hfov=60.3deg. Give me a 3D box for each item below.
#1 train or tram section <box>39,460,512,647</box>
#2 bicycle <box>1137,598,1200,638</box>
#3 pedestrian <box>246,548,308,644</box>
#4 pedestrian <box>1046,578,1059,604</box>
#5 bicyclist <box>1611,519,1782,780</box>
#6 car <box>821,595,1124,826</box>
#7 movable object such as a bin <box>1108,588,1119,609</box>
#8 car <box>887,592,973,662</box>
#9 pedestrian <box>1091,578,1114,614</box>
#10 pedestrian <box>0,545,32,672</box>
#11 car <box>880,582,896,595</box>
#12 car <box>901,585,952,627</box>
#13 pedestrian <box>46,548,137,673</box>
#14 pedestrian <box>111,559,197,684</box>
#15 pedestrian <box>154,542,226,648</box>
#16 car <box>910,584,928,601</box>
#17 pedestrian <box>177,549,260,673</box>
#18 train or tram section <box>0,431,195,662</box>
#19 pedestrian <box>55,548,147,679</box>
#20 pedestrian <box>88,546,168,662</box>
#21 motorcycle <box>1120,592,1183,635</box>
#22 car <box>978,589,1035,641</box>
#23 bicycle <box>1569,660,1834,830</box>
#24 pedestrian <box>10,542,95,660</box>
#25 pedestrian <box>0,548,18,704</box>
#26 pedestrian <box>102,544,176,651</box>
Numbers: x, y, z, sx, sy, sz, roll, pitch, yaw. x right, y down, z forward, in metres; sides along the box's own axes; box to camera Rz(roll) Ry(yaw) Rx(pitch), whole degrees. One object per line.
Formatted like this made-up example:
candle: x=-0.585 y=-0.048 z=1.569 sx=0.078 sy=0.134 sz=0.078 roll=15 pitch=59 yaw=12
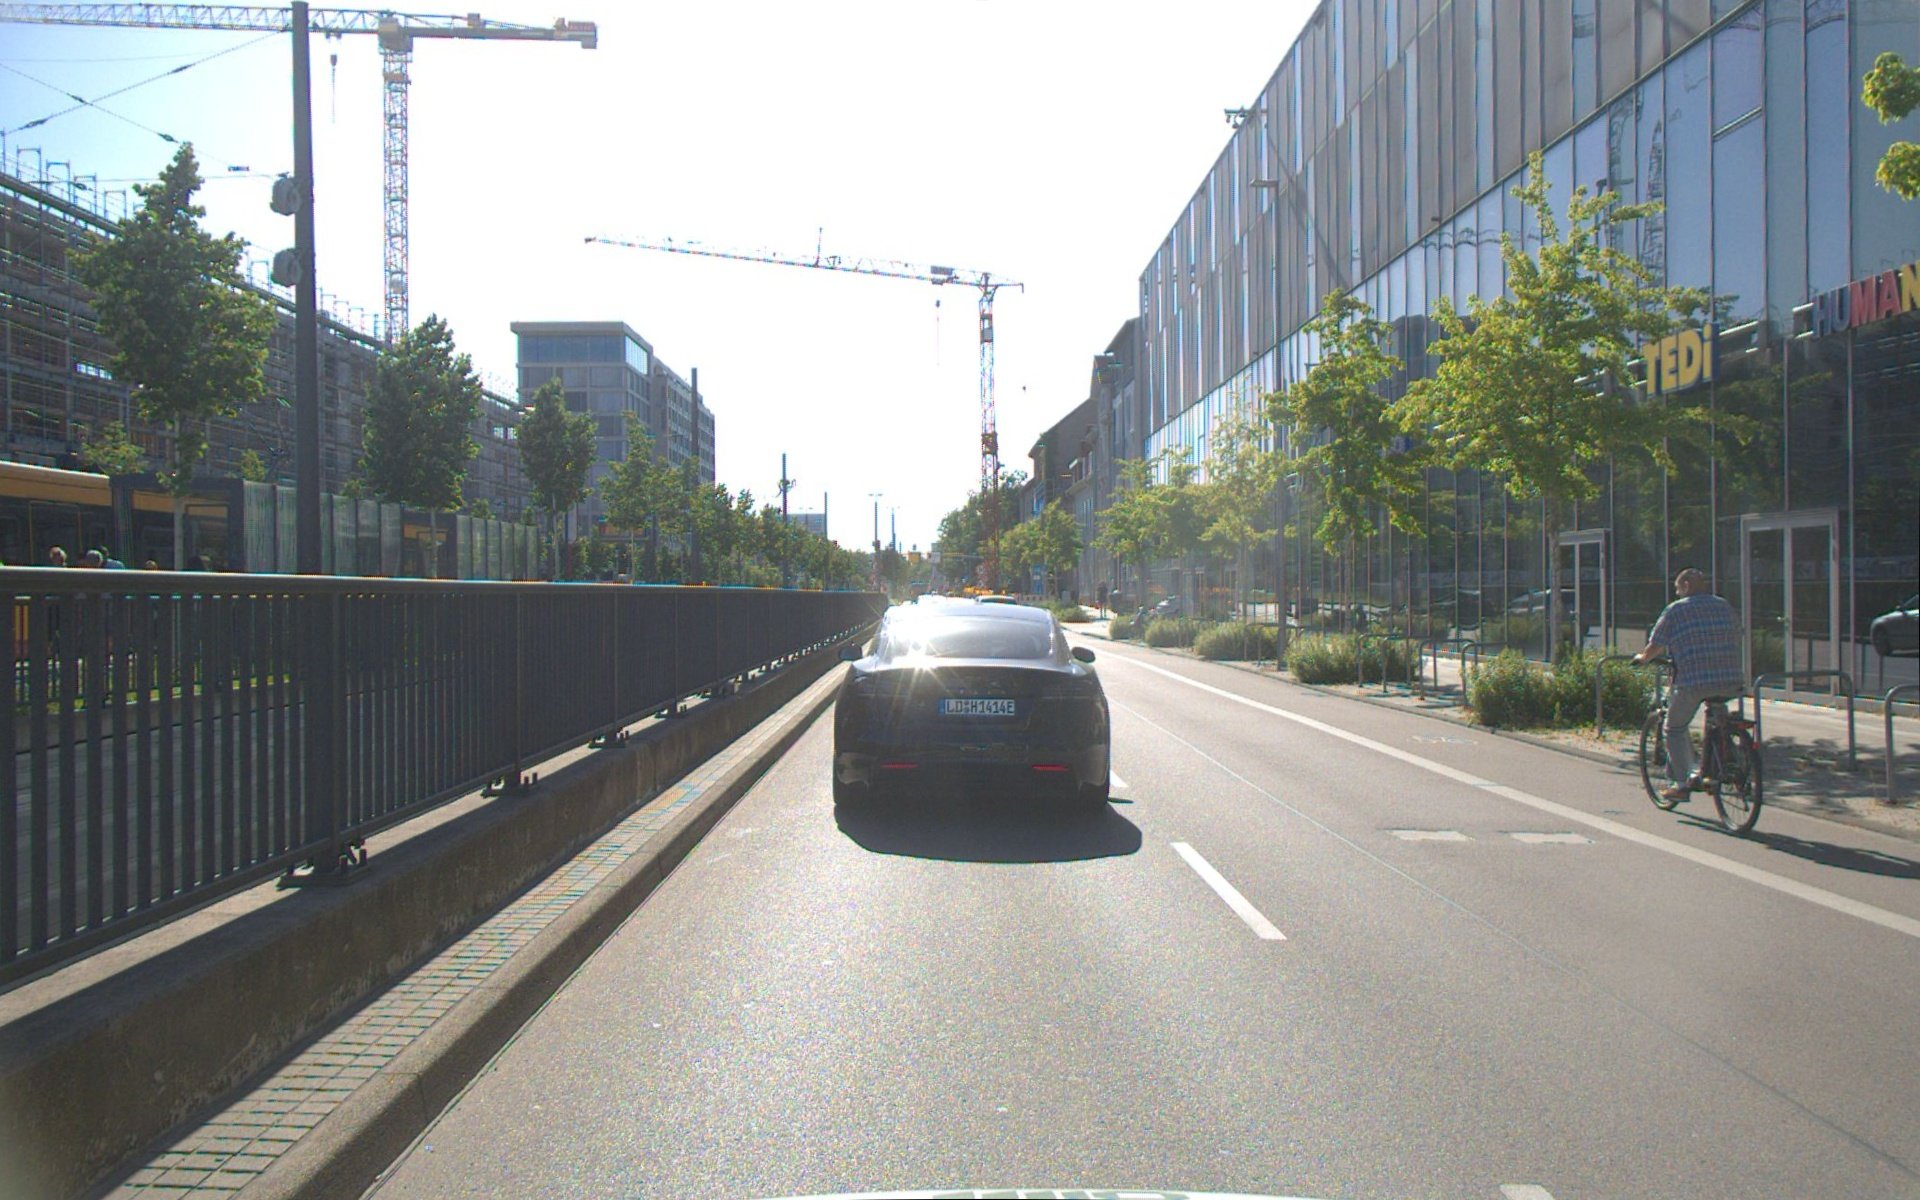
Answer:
train or tram section: x=-15.435 y=-0.936 z=41.131 sx=2.812 sy=3.337 sz=22.140 roll=1 pitch=0 yaw=-1
bicycle: x=6.617 y=0.561 z=52.599 sx=1.848 sy=1.171 sz=0.670 roll=-2 pitch=0 yaw=-11
pedestrian: x=-12.077 y=-0.072 z=29.279 sx=0.726 sy=1.657 sz=0.861 roll=0 pitch=0 yaw=0
pedestrian: x=6.834 y=-0.638 z=121.713 sx=0.834 sy=1.896 sz=0.929 roll=-1 pitch=0 yaw=-2
bicyclist: x=5.223 y=0.334 z=11.784 sx=0.710 sy=1.767 sz=0.997 roll=-1 pitch=0 yaw=-4
car: x=0.156 y=0.705 z=12.898 sx=1.957 sy=1.459 sz=4.414 roll=0 pitch=0 yaw=2
movable object such as a bin: x=8.764 y=-0.078 z=94.446 sx=0.547 sy=1.189 sz=0.562 roll=1 pitch=0 yaw=3
car: x=-0.592 y=0.519 z=34.629 sx=1.681 sy=1.343 sz=4.000 roll=0 pitch=1 yaw=0
pedestrian: x=7.711 y=-0.215 z=89.554 sx=1.073 sy=1.896 sz=1.522 roll=-1 pitch=0 yaw=-2
pedestrian: x=-12.888 y=0.116 z=21.880 sx=0.726 sy=1.657 sz=0.861 roll=0 pitch=0 yaw=0
car: x=-9.455 y=-1.523 z=217.131 sx=1.953 sy=1.713 sz=3.998 roll=1 pitch=0 yaw=-2
car: x=-1.349 y=0.227 z=67.732 sx=1.849 sy=1.624 sz=4.001 roll=-1 pitch=1 yaw=2
pedestrian: x=-11.816 y=0.137 z=22.523 sx=0.726 sy=1.657 sz=0.947 roll=0 pitch=0 yaw=0
pedestrian: x=-10.923 y=0.288 z=22.438 sx=0.726 sy=1.657 sz=0.861 roll=0 pitch=0 yaw=0
pedestrian: x=-12.242 y=-0.077 z=26.326 sx=0.726 sy=1.657 sz=0.861 roll=0 pitch=0 yaw=0
car: x=-4.453 y=-0.820 z=180.005 sx=1.776 sy=1.841 sz=4.039 roll=0 pitch=1 yaw=0
pedestrian: x=-10.126 y=0.151 z=22.605 sx=0.726 sy=1.657 sz=0.861 roll=0 pitch=0 yaw=0
train or tram section: x=-15.237 y=-0.790 z=22.446 sx=2.812 sy=3.337 sz=15.183 roll=1 pitch=0 yaw=-1
pedestrian: x=-11.098 y=0.164 z=21.381 sx=0.726 sy=1.657 sz=0.861 roll=0 pitch=0 yaw=0
pedestrian: x=-12.130 y=0.050 z=24.133 sx=0.726 sy=1.657 sz=0.861 roll=0 pitch=0 yaw=0
motorcycle: x=6.628 y=0.460 z=57.240 sx=2.030 sy=1.377 sz=0.652 roll=-3 pitch=0 yaw=22
car: x=1.477 y=0.450 z=53.668 sx=1.748 sy=1.573 sz=4.039 roll=0 pitch=1 yaw=0
bicycle: x=5.224 y=0.977 z=11.856 sx=0.714 sy=1.001 sz=2.331 roll=0 pitch=0 yaw=-4
pedestrian: x=-13.037 y=0.015 z=23.783 sx=0.726 sy=1.657 sz=0.861 roll=0 pitch=0 yaw=0
pedestrian: x=-10.579 y=0.282 z=17.495 sx=0.726 sy=1.657 sz=0.861 roll=0 pitch=0 yaw=0
pedestrian: x=-13.055 y=-0.043 z=26.324 sx=0.726 sy=1.657 sz=0.861 roll=0 pitch=0 yaw=0
